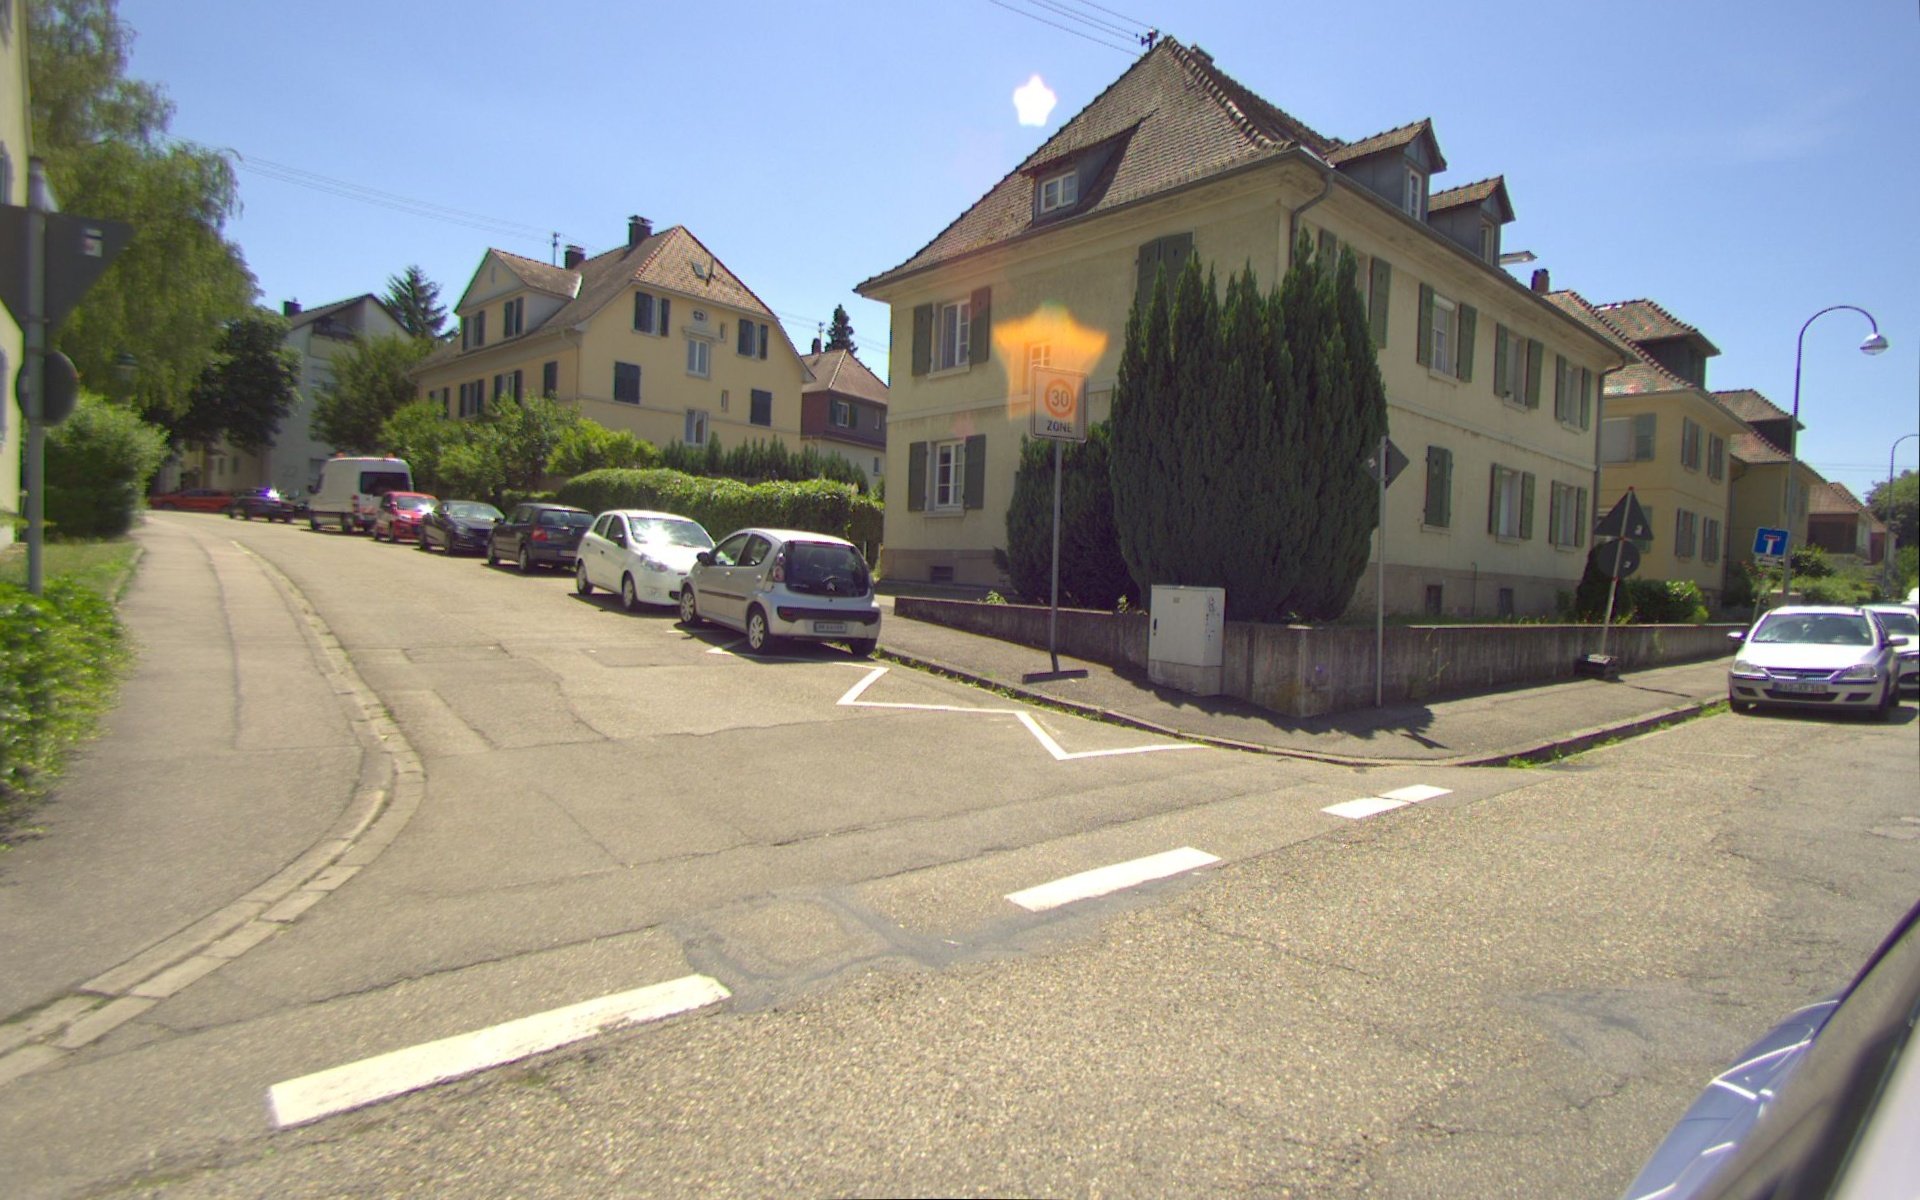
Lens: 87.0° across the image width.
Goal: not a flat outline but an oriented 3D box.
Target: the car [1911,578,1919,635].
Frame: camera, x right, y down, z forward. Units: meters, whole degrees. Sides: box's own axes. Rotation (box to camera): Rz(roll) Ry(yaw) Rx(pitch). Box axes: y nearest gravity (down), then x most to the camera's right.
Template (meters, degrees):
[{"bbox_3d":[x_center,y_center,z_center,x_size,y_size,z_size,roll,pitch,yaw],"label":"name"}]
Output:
[{"bbox_3d":[34.000,0.204,34.628,4.613,1.892,1.849,0,1,-44],"label":"car"}]

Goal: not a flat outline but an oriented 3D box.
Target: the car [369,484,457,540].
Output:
[{"bbox_3d":[-16.765,-2.670,30.943,1.766,1.528,4.000,1,3,-37],"label":"car"}]

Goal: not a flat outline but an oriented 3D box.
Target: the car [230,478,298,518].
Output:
[{"bbox_3d":[-30.105,-4.365,43.739,1.770,1.528,3.992,1,3,-44],"label":"car"}]

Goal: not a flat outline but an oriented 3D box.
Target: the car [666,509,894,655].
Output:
[{"bbox_3d":[-2.474,-0.310,13.312,1.582,1.469,3.421,1,6,-35],"label":"car"}]

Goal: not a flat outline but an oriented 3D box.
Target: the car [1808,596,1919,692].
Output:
[{"bbox_3d":[15.710,0.669,17.128,3.933,1.453,1.668,0,0,-44],"label":"car"}]

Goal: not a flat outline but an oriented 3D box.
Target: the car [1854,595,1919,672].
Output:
[{"bbox_3d":[19.467,0.642,20.630,3.934,1.448,1.597,1,0,-44],"label":"car"}]

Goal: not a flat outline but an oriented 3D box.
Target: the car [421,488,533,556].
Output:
[{"bbox_3d":[-12.538,-2.047,26.145,1.767,1.528,4.001,1,5,-38],"label":"car"}]

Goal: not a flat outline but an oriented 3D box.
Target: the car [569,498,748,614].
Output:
[{"bbox_3d":[-4.907,-0.751,16.191,1.582,1.469,3.517,1,6,-37],"label":"car"}]

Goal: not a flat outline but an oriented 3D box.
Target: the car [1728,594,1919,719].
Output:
[{"bbox_3d":[12.082,0.665,14.068,3.934,1.484,1.667,0,0,-44],"label":"car"}]

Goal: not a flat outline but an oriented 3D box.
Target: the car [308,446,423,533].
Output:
[{"bbox_3d":[-20.912,-3.874,35.503,4.865,2.728,2.129,7,4,43],"label":"car"}]

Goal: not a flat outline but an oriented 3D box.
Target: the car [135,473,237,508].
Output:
[{"bbox_3d":[-40.865,-5.785,53.521,1.791,1.528,3.947,6,4,36],"label":"car"}]

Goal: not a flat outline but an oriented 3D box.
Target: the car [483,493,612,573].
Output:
[{"bbox_3d":[-9.057,-1.500,22.058,1.667,1.470,3.839,1,5,-37],"label":"car"}]

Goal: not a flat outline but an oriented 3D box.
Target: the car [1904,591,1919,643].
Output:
[{"bbox_3d":[29.356,0.480,30.187,3.934,1.522,1.597,0,0,-44],"label":"car"}]
